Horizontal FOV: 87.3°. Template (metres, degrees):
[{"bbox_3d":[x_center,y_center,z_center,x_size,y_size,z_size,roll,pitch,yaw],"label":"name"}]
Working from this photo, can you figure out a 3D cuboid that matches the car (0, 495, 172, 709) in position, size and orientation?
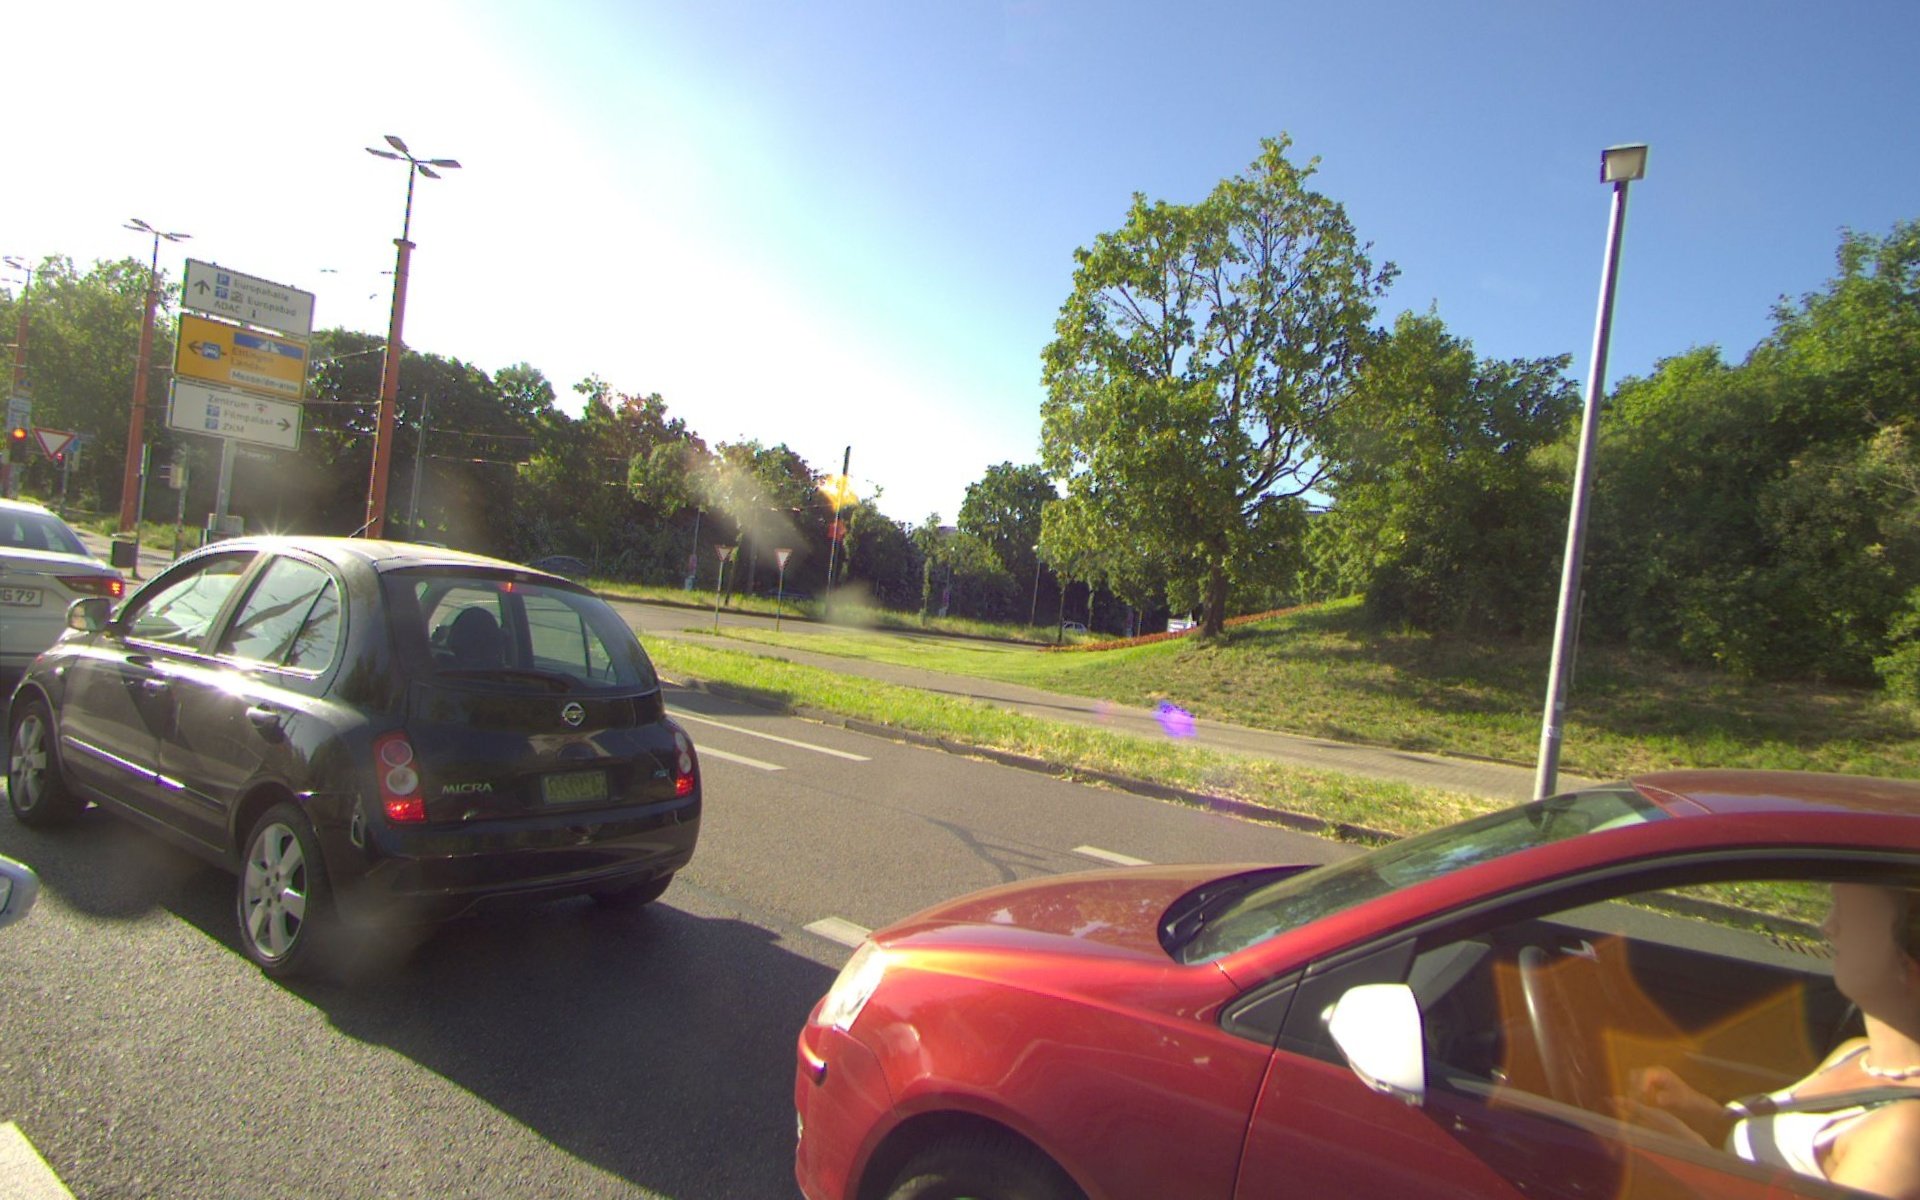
[{"bbox_3d":[-8.361,-0.176,8.081,4.256,1.457,1.802,6,-2,33],"label":"car"}]

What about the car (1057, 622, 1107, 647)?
[{"bbox_3d":[10.094,2.842,83.006,3.764,1.528,1.644,8,-1,-31],"label":"car"}]

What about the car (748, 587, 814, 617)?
[{"bbox_3d":[-12.413,0.139,69.765,4.105,1.528,1.644,8,-1,-31],"label":"car"}]

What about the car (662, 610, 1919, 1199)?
[{"bbox_3d":[1.353,1.000,1.869,3.629,1.477,1.579,6,-2,32],"label":"car"}]

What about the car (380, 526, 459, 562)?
[{"bbox_3d":[-31.477,-3.231,58.622,3.888,1.474,1.643,8,-1,-32],"label":"car"}]

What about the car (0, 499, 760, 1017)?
[{"bbox_3d":[-2.789,0.465,4.626,3.385,1.457,1.579,6,-2,32],"label":"car"}]

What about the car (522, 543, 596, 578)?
[{"bbox_3d":[-23.741,-2.340,59.615,3.764,1.528,1.644,8,-1,-31],"label":"car"}]
